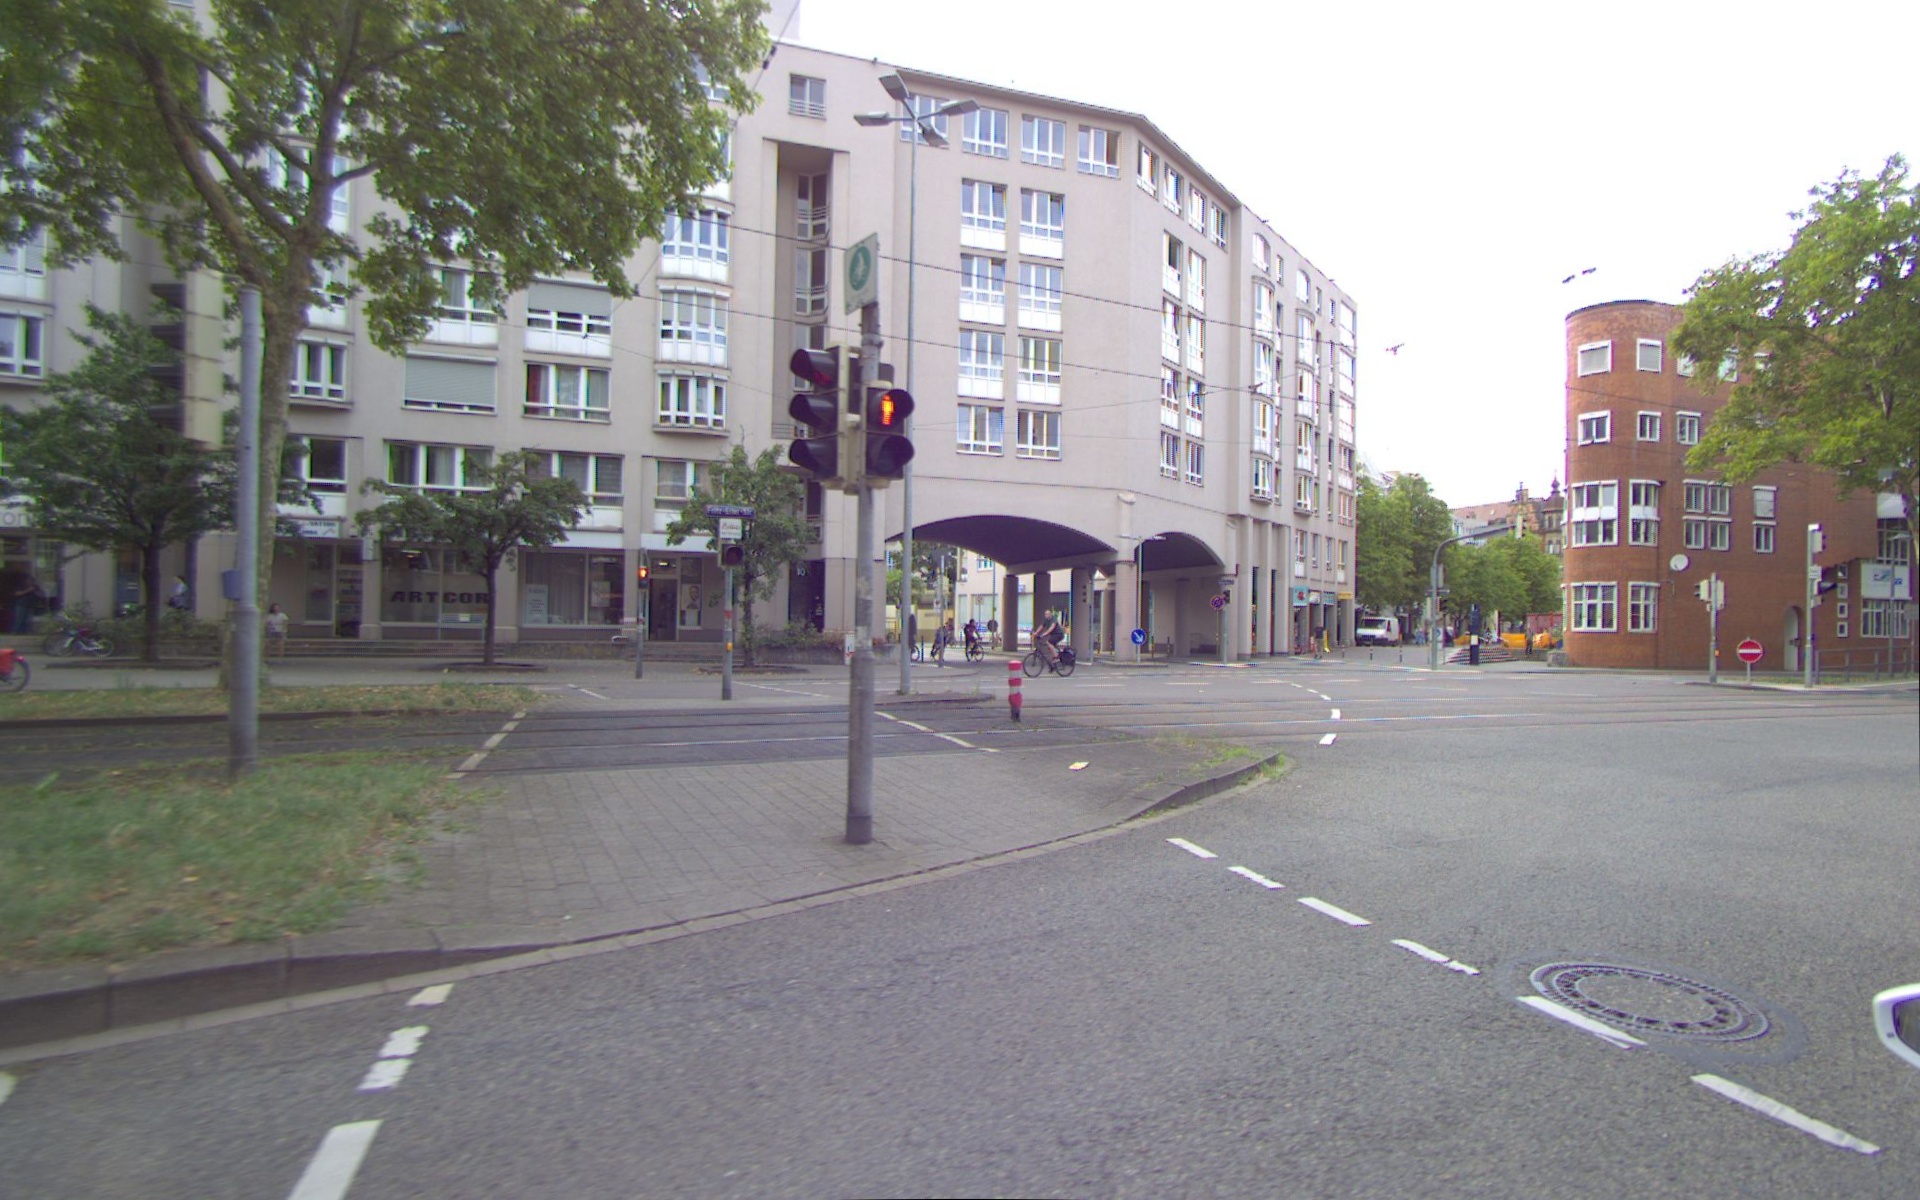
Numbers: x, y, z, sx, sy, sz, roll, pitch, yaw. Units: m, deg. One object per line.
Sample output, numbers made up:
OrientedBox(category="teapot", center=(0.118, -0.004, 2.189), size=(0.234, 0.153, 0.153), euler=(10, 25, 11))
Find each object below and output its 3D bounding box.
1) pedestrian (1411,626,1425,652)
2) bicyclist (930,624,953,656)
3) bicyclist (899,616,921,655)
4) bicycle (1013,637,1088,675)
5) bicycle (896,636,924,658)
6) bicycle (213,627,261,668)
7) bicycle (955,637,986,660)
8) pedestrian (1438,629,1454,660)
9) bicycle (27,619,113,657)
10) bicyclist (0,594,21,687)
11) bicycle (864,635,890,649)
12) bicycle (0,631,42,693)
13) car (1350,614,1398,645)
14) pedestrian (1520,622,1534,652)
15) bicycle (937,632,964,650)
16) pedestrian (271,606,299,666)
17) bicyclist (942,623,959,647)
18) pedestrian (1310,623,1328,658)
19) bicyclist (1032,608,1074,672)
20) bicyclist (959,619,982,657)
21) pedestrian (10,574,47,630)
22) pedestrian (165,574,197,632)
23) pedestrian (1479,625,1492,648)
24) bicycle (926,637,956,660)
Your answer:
OrientedBox(category="pedestrian", center=(30.921, 2.638, 67.826), size=(0.683, 1.693, 0.829), euler=(0, -1, 34))
OrientedBox(category="bicyclist", center=(-0.793, 1.692, 42.198), size=(0.755, 1.321, 0.880), euler=(1, -1, -15))
OrientedBox(category="bicyclist", center=(-2.163, 1.526, 43.397), size=(0.755, 1.635, 0.880), euler=(1, -1, -15))
OrientedBox(category="bicycle", center=(2.711, 1.647, 29.921), size=(2.179, 1.107, 0.675), euler=(1, -2, -25))
OrientedBox(category="bicycle", center=(-2.155, 2.017, 43.328), size=(0.753, 0.923, 2.180), euler=(1, -1, -15))
OrientedBox(category="bicycle", center=(-18.060, 1.177, 25.125), size=(0.433, 0.956, 1.627), euler=(1, -1, -17))
OrientedBox(category="bicycle", center=(0.432, 2.031, 42.203), size=(0.753, 0.923, 2.180), euler=(1, -1, -15))
OrientedBox(category="pedestrian", center=(31.513, 2.884, 65.106), size=(0.780, 1.990, 0.803), euler=(0, -1, 37))
OrientedBox(category="bicycle", center=(-23.332, 1.001, 26.368), size=(1.609, 0.956, 0.438), euler=(1, -1, -22))
OrientedBox(category="bicyclist", center=(-18.008, 0.730, 18.426), size=(0.940, 1.695, 0.687), euler=(1, -1, -26))
OrientedBox(category="bicycle", center=(-6.636, 3.373, 80.288), size=(2.088, 1.062, 0.629), euler=(2, -1, -39))
OrientedBox(category="bicycle", center=(-18.142, 1.125, 18.356), size=(1.852, 1.106, 0.688), euler=(1, -1, -26))
OrientedBox(category="car", center=(27.883, 1.979, 67.565), size=(1.967, 1.962, 4.929), euler=(0, -1, 36))
OrientedBox(category="pedestrian", center=(34.719, 2.276, 61.493), size=(0.683, 1.841, 0.654), euler=(0, -1, 34))
OrientedBox(category="bicycle", center=(-0.646, 2.642, 65.008), size=(0.706, 1.062, 2.086), euler=(1, -1, -34))
OrientedBox(category="pedestrian", center=(-17.675, 0.925, 26.301), size=(0.511, 1.550, 0.527), euler=(1, -1, -41))
OrientedBox(category="bicyclist", center=(-0.634, 2.244, 65.000), size=(0.698, 1.545, 0.938), euler=(1, -1, -34))
OrientedBox(category="pedestrian", center=(17.657, 1.982, 49.366), size=(0.664, 1.702, 0.751), euler=(0, -1, 34))
OrientedBox(category="bicyclist", center=(2.766, 1.177, 29.950), size=(1.066, 1.872, 0.665), euler=(1, -2, -25))
OrientedBox(category="bicyclist", center=(0.433, 1.594, 42.244), size=(0.755, 1.559, 0.880), euler=(1, -1, -15))
OrientedBox(category="pedestrian", center=(-26.448, 0.065, 28.516), size=(0.539, 1.580, 0.570), euler=(1, -1, -17))
OrientedBox(category="pedestrian", center=(-22.138, 0.080, 28.552), size=(0.540, 1.627, 0.569), euler=(1, -1, -20))
OrientedBox(category="pedestrian", center=(46.880, 3.261, 89.606), size=(0.852, 2.040, 1.339), euler=(0, -1, 36))
OrientedBox(category="bicycle", center=(-0.800, 2.022, 42.201), size=(0.753, 0.923, 2.180), euler=(1, -1, -15))
